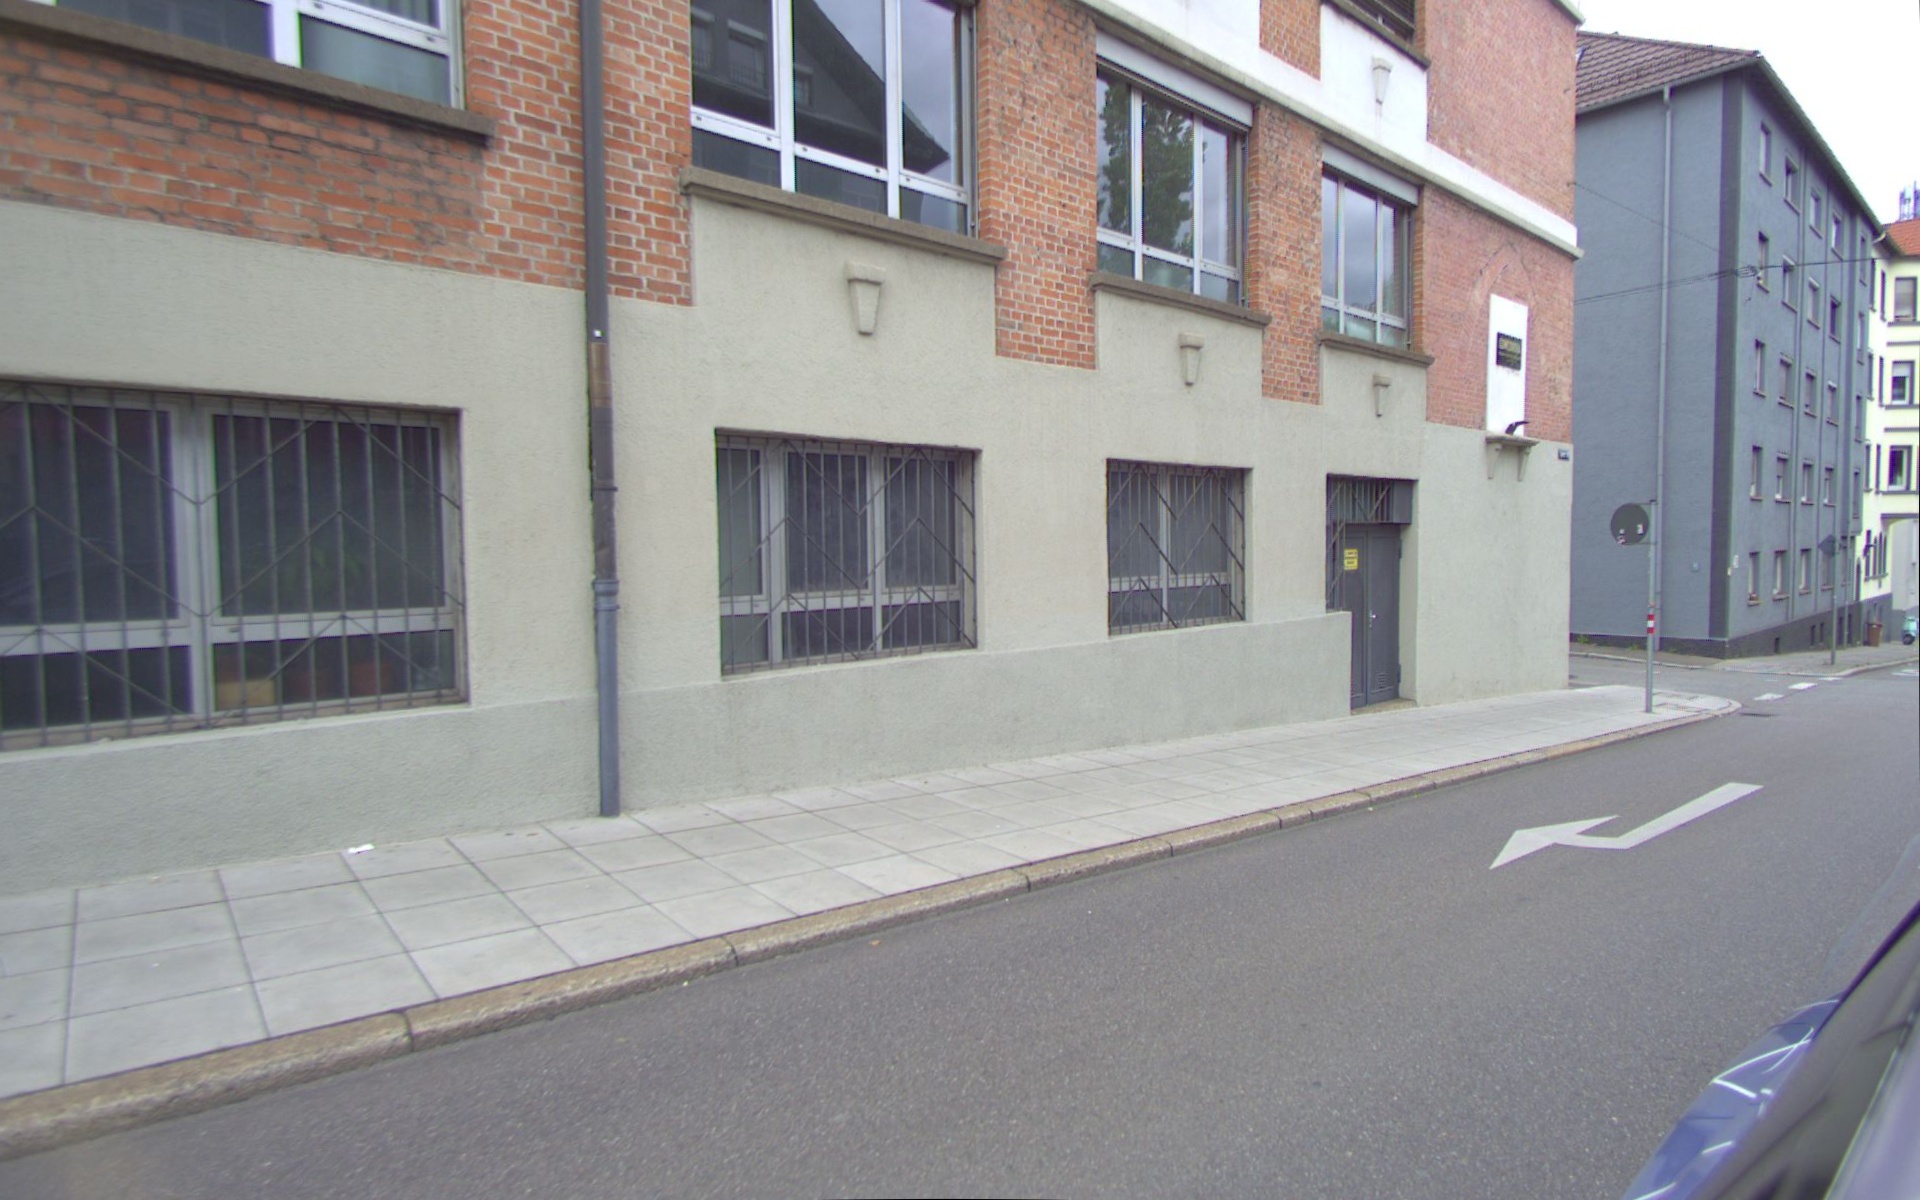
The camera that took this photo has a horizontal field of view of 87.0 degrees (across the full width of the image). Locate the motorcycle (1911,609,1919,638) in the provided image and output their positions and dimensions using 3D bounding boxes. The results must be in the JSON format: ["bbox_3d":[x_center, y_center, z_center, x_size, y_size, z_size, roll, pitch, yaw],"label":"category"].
[{"bbox_3d":[39.548,0.967,41.470,1.624,1.125,0.566,1,6,-40],"label":"motorcycle"}]
